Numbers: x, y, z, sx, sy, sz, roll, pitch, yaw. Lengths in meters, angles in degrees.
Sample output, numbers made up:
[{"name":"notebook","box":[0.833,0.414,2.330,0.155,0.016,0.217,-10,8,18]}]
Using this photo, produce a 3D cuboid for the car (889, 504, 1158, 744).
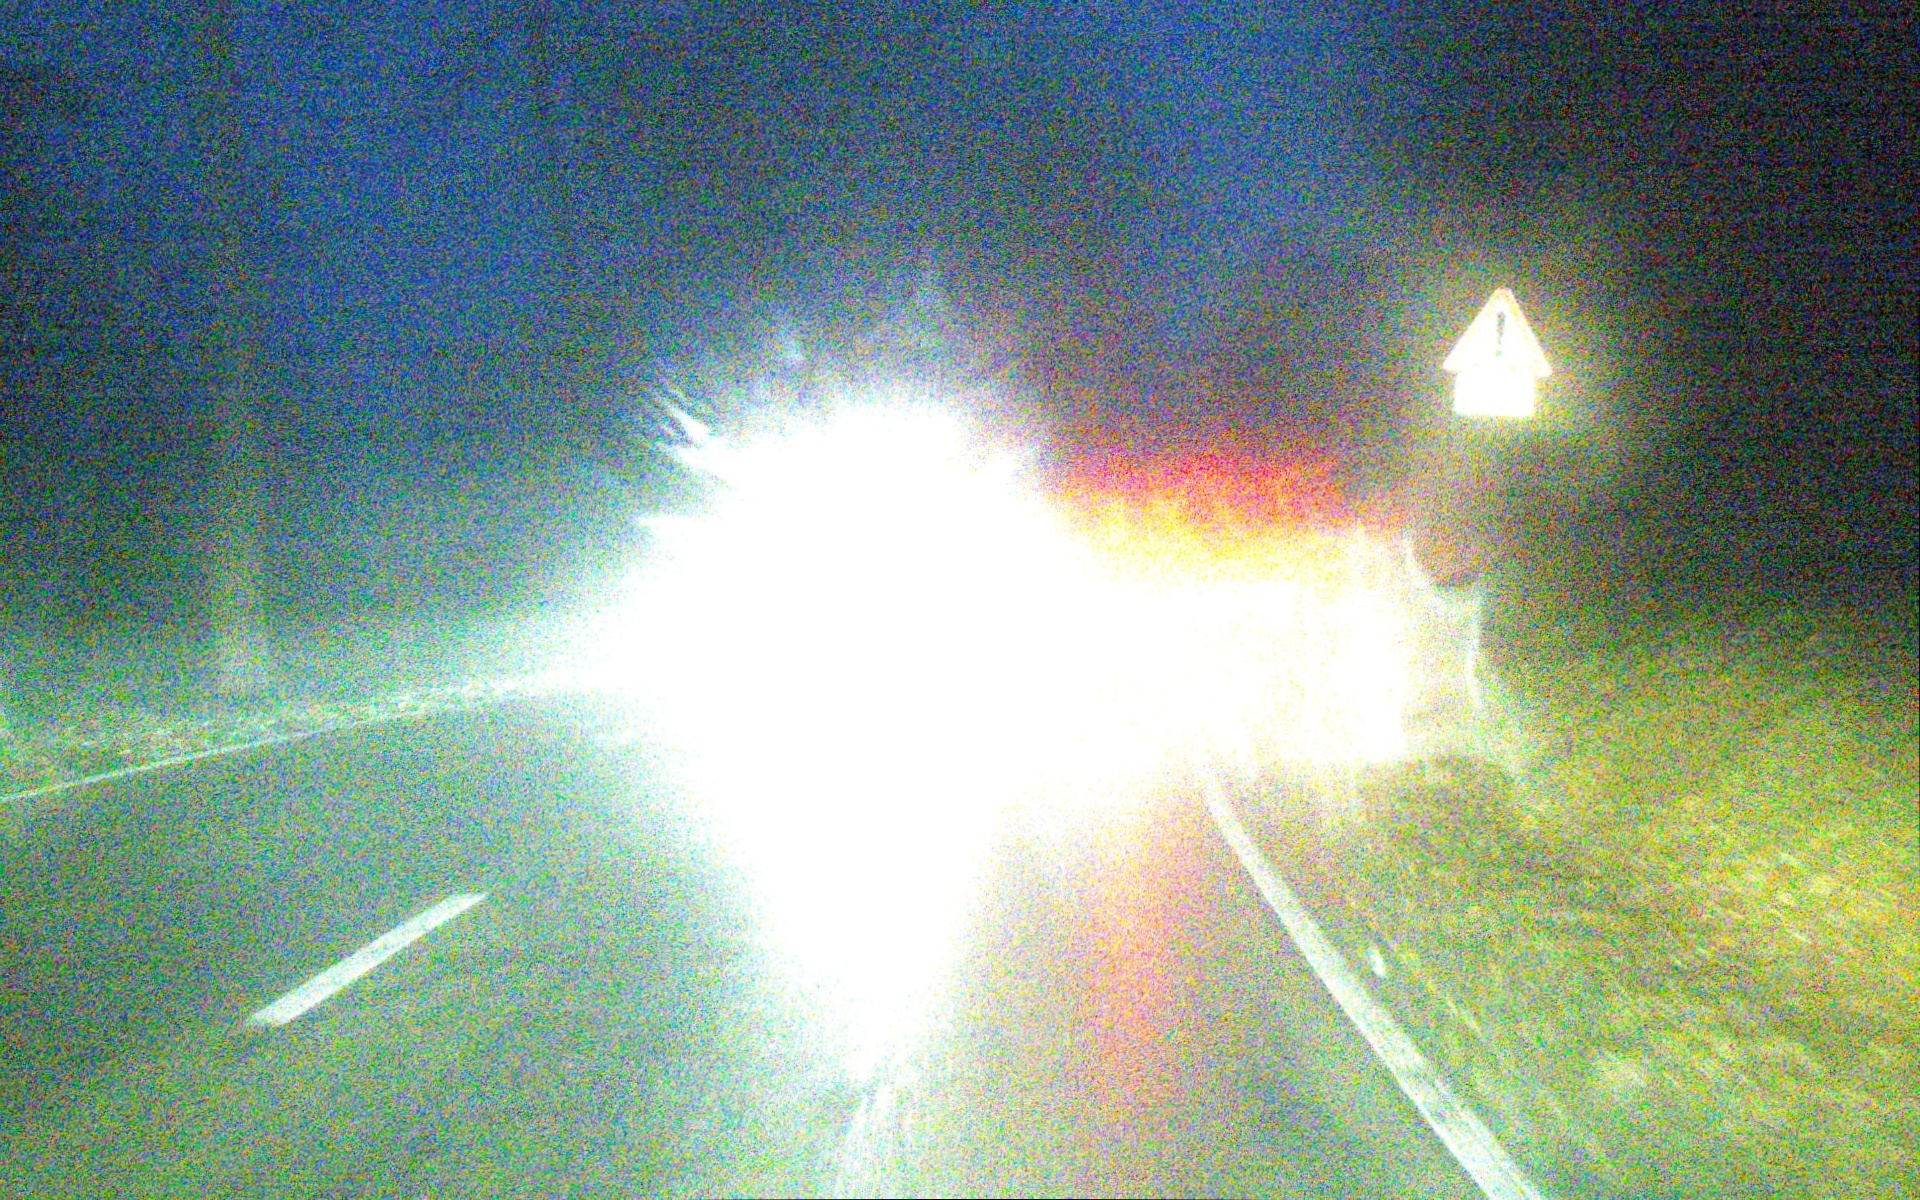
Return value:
[{"name":"car","box":[0.464,0.152,29.116,1.993,1.800,3.918,-3,1,-2]}]

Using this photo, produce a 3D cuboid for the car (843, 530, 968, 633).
[{"name":"car","box":[-0.914,-0.354,59.860,1.843,1.714,3.959,0,1,4]}]
